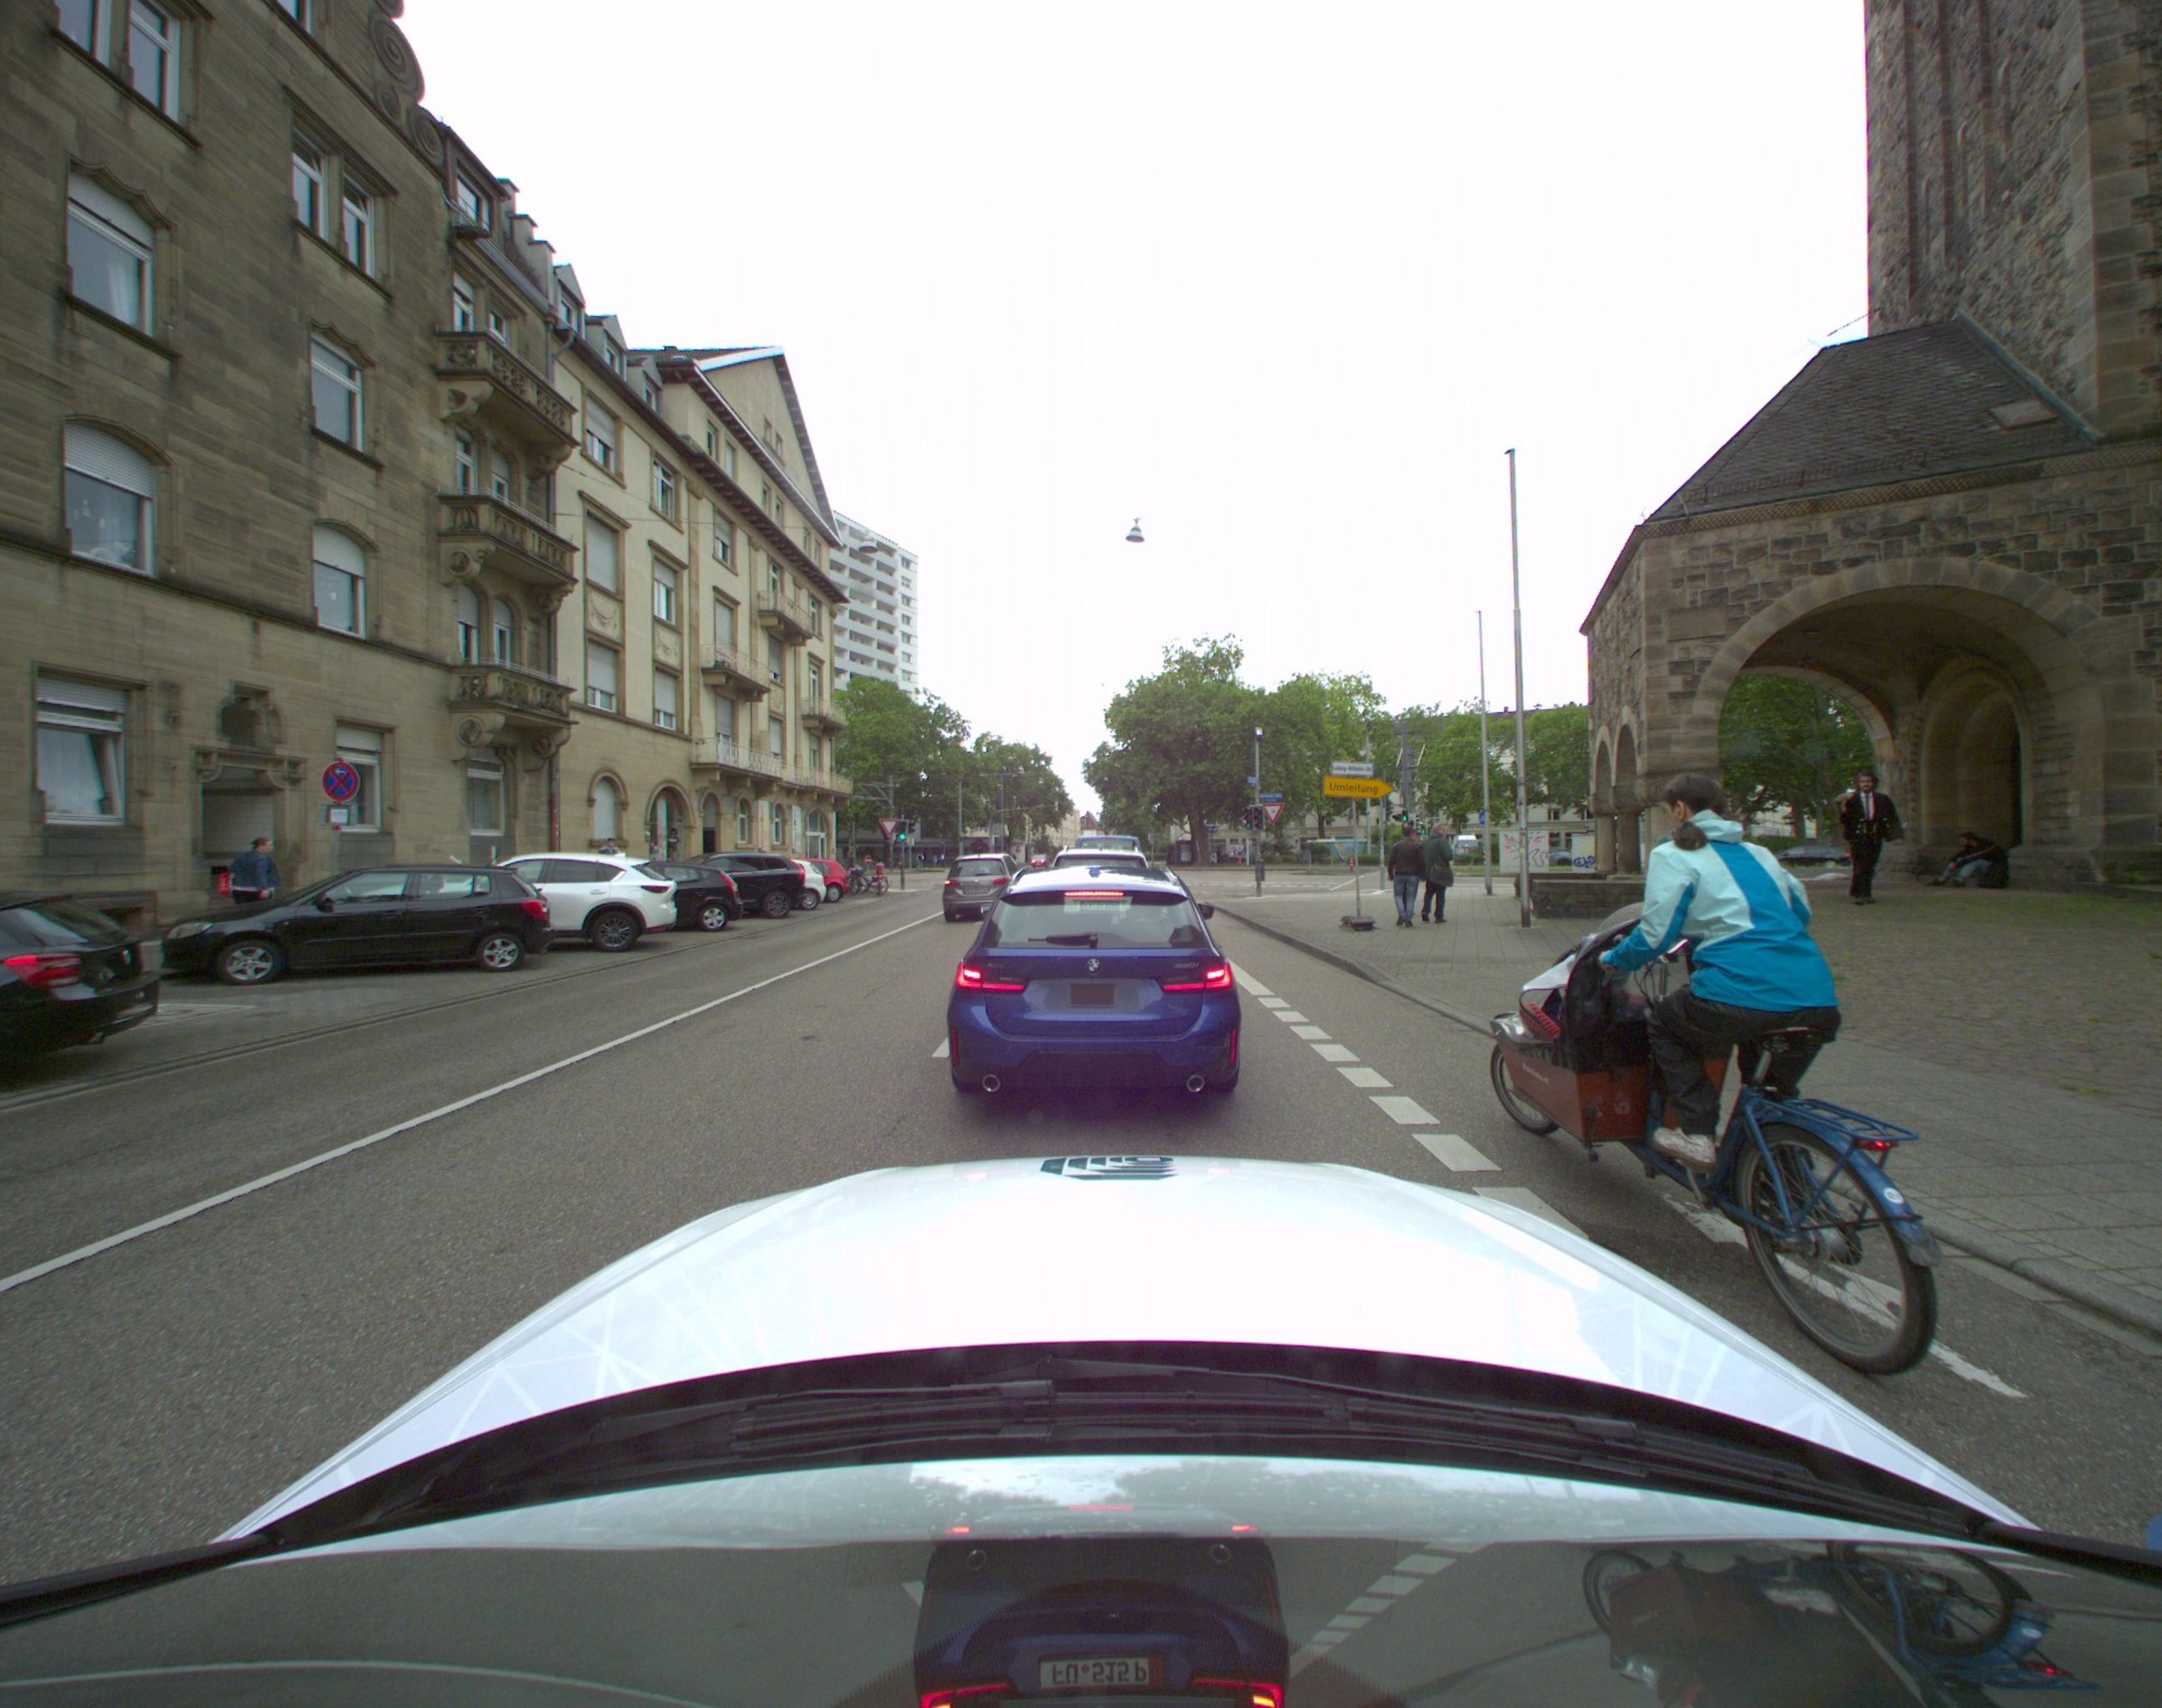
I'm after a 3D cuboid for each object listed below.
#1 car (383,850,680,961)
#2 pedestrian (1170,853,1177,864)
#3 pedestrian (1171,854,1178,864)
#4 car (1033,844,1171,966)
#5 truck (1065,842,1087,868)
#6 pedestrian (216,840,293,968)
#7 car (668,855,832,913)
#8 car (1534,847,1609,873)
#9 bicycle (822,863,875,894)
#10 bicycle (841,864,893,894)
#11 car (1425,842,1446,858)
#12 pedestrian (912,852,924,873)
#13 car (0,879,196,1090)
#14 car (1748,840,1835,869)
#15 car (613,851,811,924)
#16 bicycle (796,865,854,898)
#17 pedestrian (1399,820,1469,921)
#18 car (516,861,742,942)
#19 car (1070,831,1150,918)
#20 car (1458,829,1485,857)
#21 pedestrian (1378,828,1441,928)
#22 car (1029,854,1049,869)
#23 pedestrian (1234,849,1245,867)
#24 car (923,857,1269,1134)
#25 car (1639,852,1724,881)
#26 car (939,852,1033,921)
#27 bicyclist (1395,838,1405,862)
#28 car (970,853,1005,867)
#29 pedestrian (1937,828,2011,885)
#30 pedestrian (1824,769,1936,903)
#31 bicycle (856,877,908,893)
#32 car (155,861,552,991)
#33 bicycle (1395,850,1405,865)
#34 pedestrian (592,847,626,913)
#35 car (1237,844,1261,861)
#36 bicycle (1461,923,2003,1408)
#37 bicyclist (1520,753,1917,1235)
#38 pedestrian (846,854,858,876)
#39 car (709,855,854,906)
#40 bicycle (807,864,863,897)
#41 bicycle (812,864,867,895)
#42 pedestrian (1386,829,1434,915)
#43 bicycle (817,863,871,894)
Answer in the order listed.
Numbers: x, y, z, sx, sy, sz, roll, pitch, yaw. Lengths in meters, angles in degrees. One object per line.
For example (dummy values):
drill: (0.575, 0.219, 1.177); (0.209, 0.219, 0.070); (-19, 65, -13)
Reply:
car: (-9.284, 0.794, 14.205); (4.004, 1.723, 1.827); (0, 0, -23)
pedestrian: (11.844, 0.627, 103.934); (0.814, 1.372, 0.763); (-1, 0, 1)
pedestrian: (11.797, 0.659, 102.997); (0.850, 1.314, 0.763); (-1, 0, 1)
car: (0.344, 0.675, 12.842); (1.808, 1.592, 4.002); (-1, 0, 2)
truck: (-0.444, 0.078, 81.121); (2.068, 2.408, 5.461); (-2, 0, 0)
pedestrian: (-13.028, 0.772, 12.849); (0.616, 1.958, 0.551); (-1, 0, 2)
car: (-9.341, 0.821, 23.182); (4.021, 1.472, 1.546); (2, 0, -41)
car: (31.198, 0.368, 51.935); (3.940, 1.561, 1.697); (-1, 0, 24)
bicycle: (-9.170, 0.963, 32.168); (1.880, 1.035, 0.442); (5, 0, -1)
bicycle: (-8.590, 0.991, 32.702); (1.880, 1.035, 0.442); (5, 0, -1)
car: (35.002, -0.392, 80.372); (1.649, 1.515, 3.962); (-1, 0, 28)
pedestrian: (-14.084, 0.747, 70.463); (0.668, 1.771, 0.730); (-1, 0, 43)
car: (-9.128, 0.906, 5.458); (4.016, 1.417, 1.644); (1, -1, -34)
car: (40.883, 0.022, 46.942); (3.425, 1.561, 1.697); (-1, 0, 24)
car: (-9.221, 0.767, 20.538); (4.248, 1.651, 1.711); (0, 0, -41)
bicycle: (-9.274, 0.986, 29.519); (1.877, 1.035, 0.443); (4, 0, 4)
pedestrian: (6.474, 0.294, 14.983); (0.801, 1.758, 0.969); (-3, 0, 1)
car: (-9.484, 0.909, 17.214); (4.017, 1.494, 1.713); (0, 0, -36)
car: (0.741, 0.468, 20.962); (1.808, 2.005, 4.002); (-1, 0, 2)
car: (39.248, -1.108, 81.830); (2.214, 2.639, 5.480); (-1, 0, 28)
pedestrian: (5.839, 0.406, 14.521); (0.672, 1.686, 0.969); (-3, 0, 2)
car: (-4.256, 0.773, 82.592); (1.643, 1.447, 3.512); (-1, 0, 2)
pedestrian: (15.319, 0.394, 78.750); (0.781, 1.743, 0.925); (-1, 0, 0)
car: (0.146, 0.758, 6.464); (1.808, 1.405, 4.322); (-1, 0, 2)
car: (36.558, 0.771, 49.684); (3.901, 1.711, 1.697); (-1, -1, 24)
car: (-2.271, 0.732, 20.420); (1.726, 1.525, 4.002); (-1, 0, 2)
bicyclist: (22.794, -0.277, 58.190); (0.608, 1.654, 0.758); (-1, 0, 23)
car: (-12.042, 0.765, 105.047); (4.014, 1.706, 1.980); (0, -1, -32)
pedestrian: (15.510, 0.043, 14.163); (0.665, 0.951, 0.618); (-1, 0, 24)
pedestrian: (11.340, -0.259, 11.604); (0.806, 1.808, 1.026); (-1, 3, 22)
bicycle: (-8.226, 1.282, 33.733); (1.880, 0.445, 1.029); (5, 2, -1)
car: (-9.634, 0.866, 11.205); (3.830, 1.497, 1.552); (1, -1, -37)
bicycle: (22.760, 0.242, 58.154); (0.546, 0.995, 2.072); (-1, 0, 24)
pedestrian: (-12.966, 0.712, 22.390); (0.564, 1.785, 0.551); (-1, 0, 3)
car: (22.112, -0.199, 107.080); (2.154, 2.200, 4.024); (-1, 0, 26)
bicycle: (2.233, 0.921, 3.242); (0.492, 1.098, 2.139); (-1, 0, 2)
bicyclist: (2.304, 0.442, 3.109); (0.683, 1.517, 1.059); (-1, 0, 2)
pedestrian: (-17.893, 0.855, 63.692); (0.672, 1.771, 0.726); (-1, 0, 1)
car: (-9.502, 0.805, 26.046); (1.663, 1.472, 4.024); (1, 0, 43)
bicycle: (-9.158, 0.985, 30.333); (1.880, 1.035, 0.442); (5, 0, -1)
bicycle: (-9.156, 0.967, 30.869); (1.880, 1.035, 0.442); (5, 0, -1)
pedestrian: (6.708, 0.357, 16.651); (0.629, 1.673, 0.971); (-3, 0, 8)
bicycle: (-9.154, 0.946, 31.531); (1.880, 1.035, 0.442); (5, 0, -1)
